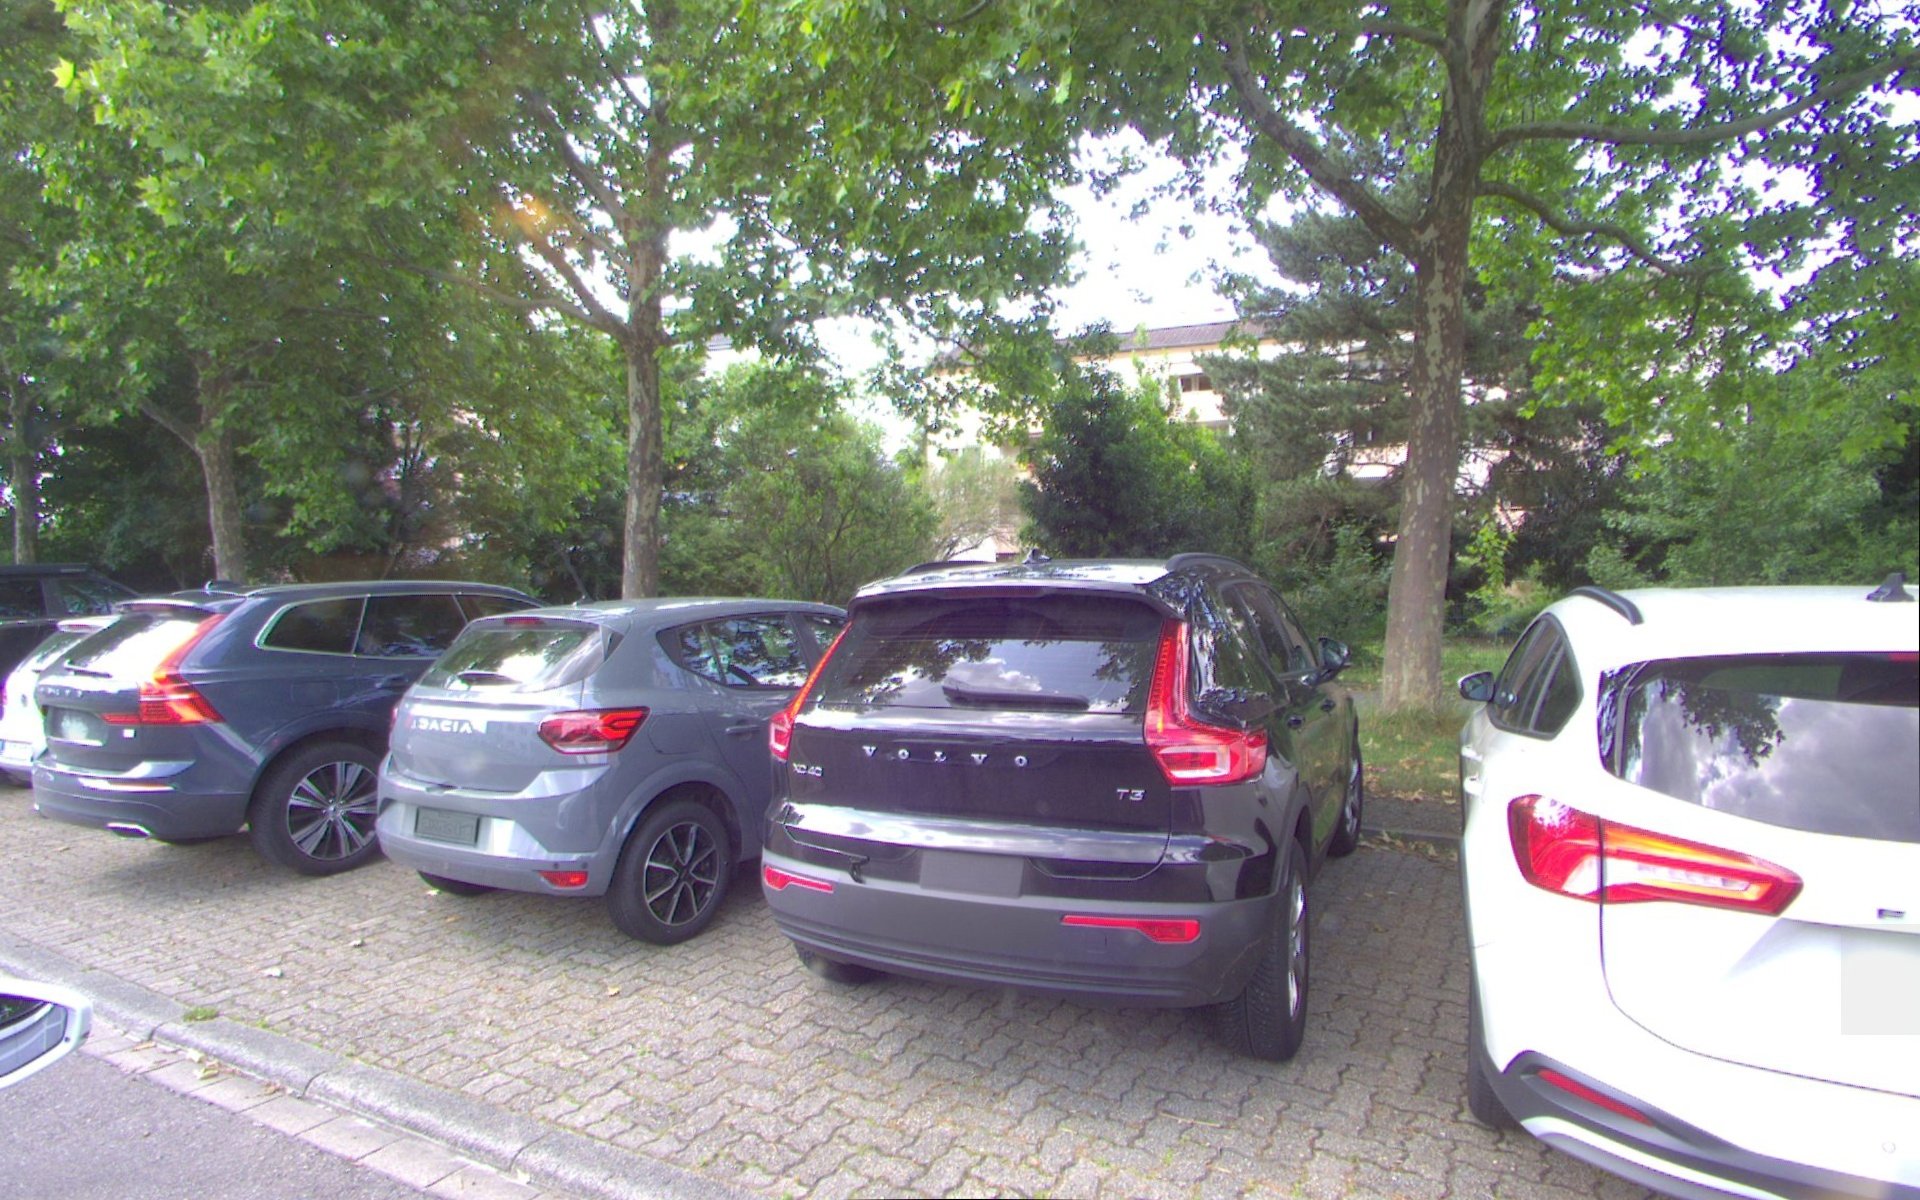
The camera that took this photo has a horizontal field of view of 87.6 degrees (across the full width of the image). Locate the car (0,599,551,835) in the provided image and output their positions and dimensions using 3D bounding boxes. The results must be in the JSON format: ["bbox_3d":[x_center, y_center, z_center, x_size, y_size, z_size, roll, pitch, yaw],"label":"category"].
[{"bbox_3d":[-5.861,0.785,8.801,1.730,1.514,3.959,0,1,30],"label":"car"}]

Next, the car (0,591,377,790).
[{"bbox_3d":[-8.253,0.749,10.026,1.725,1.627,3.969,0,1,20],"label":"car"}]

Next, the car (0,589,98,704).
[{"bbox_3d":[-16.434,0.761,15.329,1.828,1.790,4.538,0,1,30],"label":"car"}]

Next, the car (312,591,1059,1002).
[{"bbox_3d":[-1.149,0.729,6.100,1.731,1.521,4.371,0,1,32],"label":"car"}]

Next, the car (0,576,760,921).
[{"bbox_3d":[-3.597,0.685,7.114,1.731,1.661,4.371,0,1,32],"label":"car"}]

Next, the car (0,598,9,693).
[{"bbox_3d":[-18.801,0.853,16.228,1.826,1.683,4.543,0,1,26],"label":"car"}]

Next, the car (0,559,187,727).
[{"bbox_3d":[-13.244,0.561,13.137,1.828,2.152,4.538,0,1,30],"label":"car"}]

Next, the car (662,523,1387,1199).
[{"bbox_3d":[0.919,0.612,4.834,1.818,1.648,4.655,0,1,27],"label":"car"}]

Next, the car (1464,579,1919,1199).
[{"bbox_3d":[2.839,0.676,3.600,1.818,1.493,4.655,0,1,27],"label":"car"}]

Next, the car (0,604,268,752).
[{"bbox_3d":[-10.619,0.856,11.556,1.730,1.514,3.959,-1,1,30],"label":"car"}]
